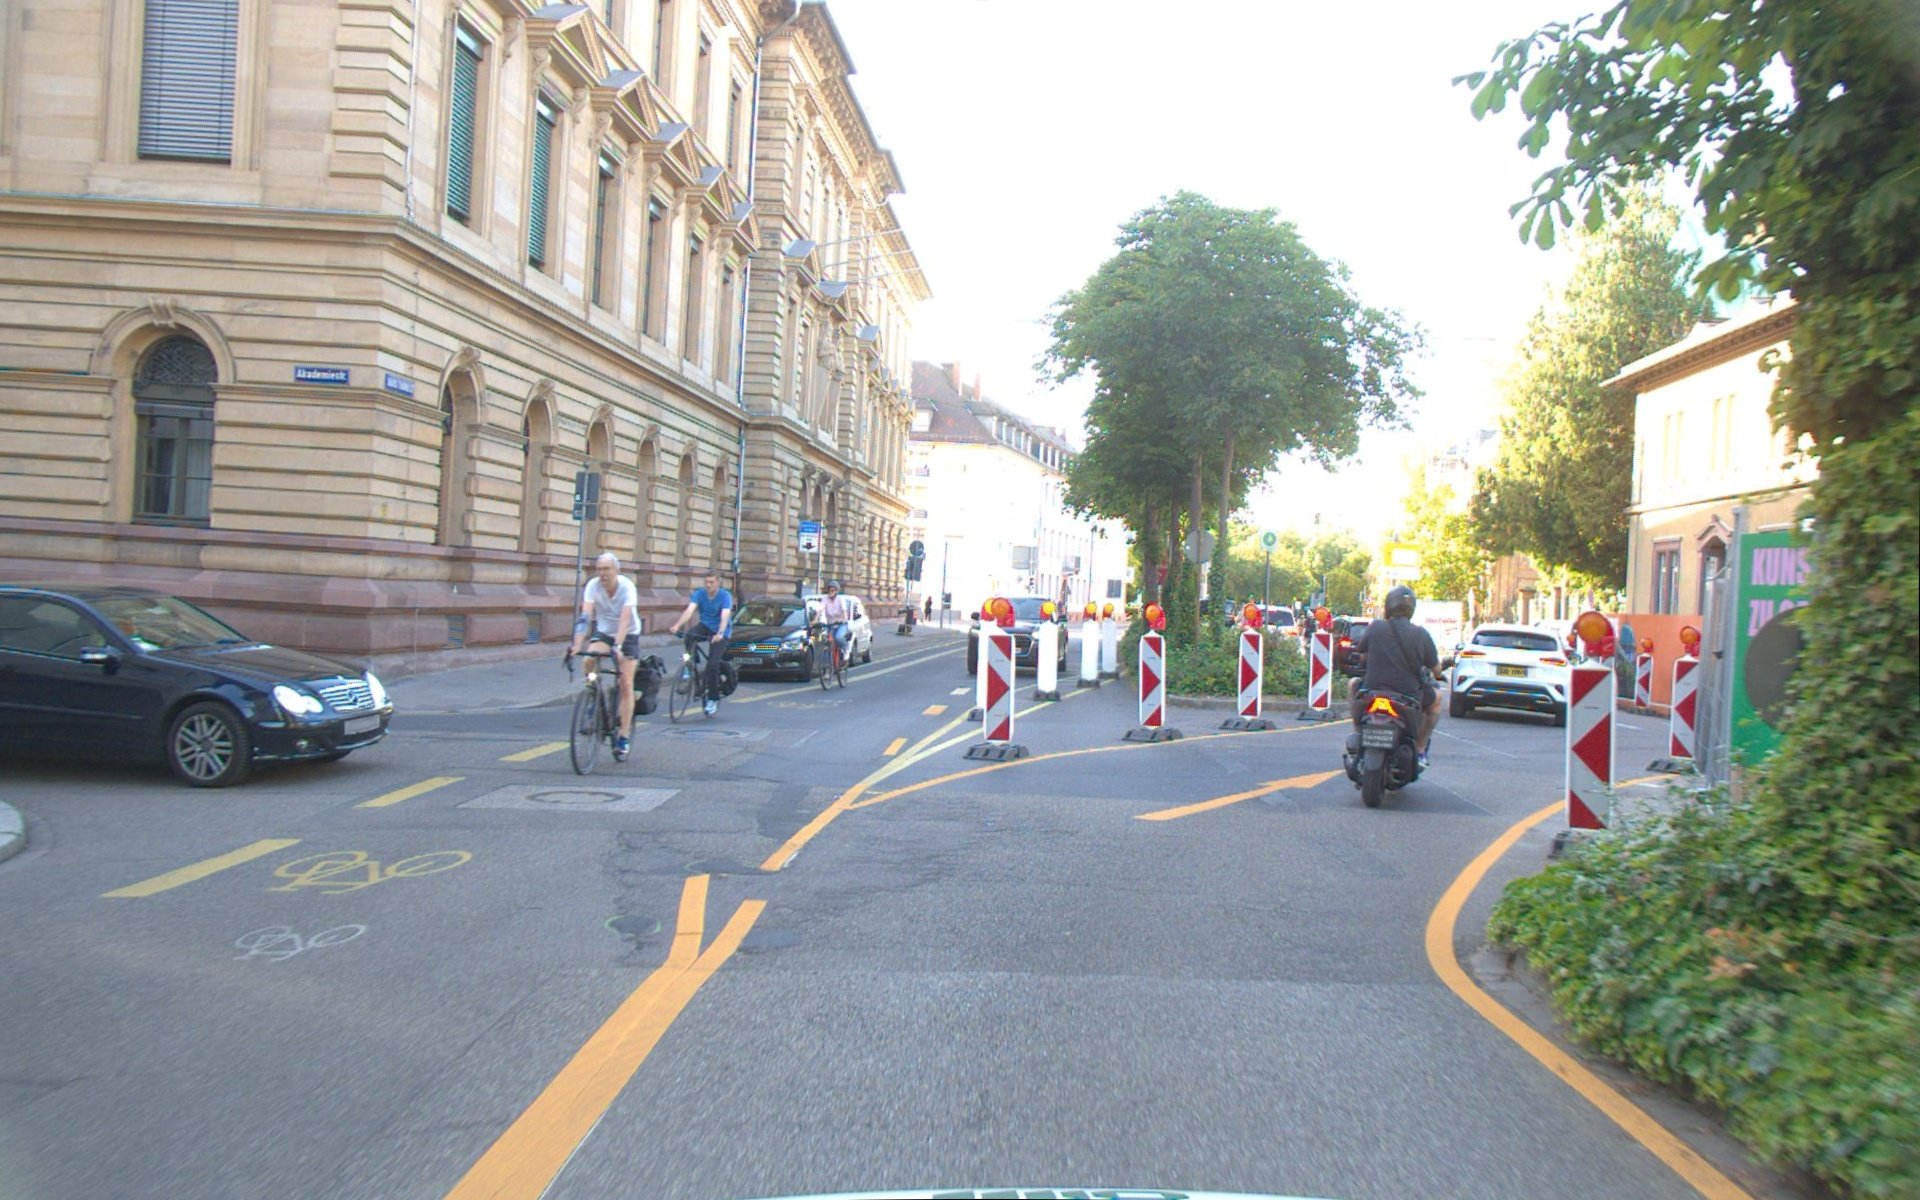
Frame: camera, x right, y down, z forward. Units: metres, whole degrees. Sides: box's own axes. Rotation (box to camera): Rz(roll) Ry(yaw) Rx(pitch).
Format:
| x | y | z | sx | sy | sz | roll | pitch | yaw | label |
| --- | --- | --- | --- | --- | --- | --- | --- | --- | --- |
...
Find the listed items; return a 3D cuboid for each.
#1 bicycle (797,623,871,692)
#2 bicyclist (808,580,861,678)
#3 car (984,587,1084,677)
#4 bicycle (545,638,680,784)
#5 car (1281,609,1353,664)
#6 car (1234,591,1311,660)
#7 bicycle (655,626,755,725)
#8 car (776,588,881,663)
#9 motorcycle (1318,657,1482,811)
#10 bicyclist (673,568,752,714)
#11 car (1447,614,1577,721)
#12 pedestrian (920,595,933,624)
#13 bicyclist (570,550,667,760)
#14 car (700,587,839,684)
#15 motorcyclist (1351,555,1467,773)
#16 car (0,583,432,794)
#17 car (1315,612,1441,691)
| x | y | z | sx | sy | sz | roll | pitch | yaw | label |
| --- | --- | --- | --- | --- | --- | --- | --- | --- | --- |
| -2.068 | 0.934 | 27.471 | 0.522 | 1.053 | 2.037 | 2 | 0 | 16 | bicycle |
| -2.085 | 0.478 | 27.528 | 0.615 | 1.581 | 0.732 | 2 | 0 | 16 | bicyclist |
| 1.515 | 0.627 | 35.257 | 1.952 | 1.724 | 4.399 | 2 | 0 | 1 | car |
| -2.876 | 0.882 | 13.879 | 0.571 | 1.053 | 2.129 | 2 | 0 | 2 | bicycle |
| 12.433 | 1.237 | 57.866 | 1.802 | 1.728 | 4.059 | 4 | 0 | 4 | car |
| 9.768 | 0.779 | 51.953 | 1.802 | 1.945 | 4.059 | 4 | 0 | 4 | car |
| -2.956 | 0.854 | 19.339 | 0.521 | 1.053 | 1.908 | 2 | 0 | 11 | bicycle |
| -2.916 | 0.544 | 37.565 | 1.952 | 1.555 | 4.185 | 2 | 0 | 1 | car |
| 3.538 | 1.025 | 13.189 | 0.782 | 1.084 | 1.721 | 4 | 0 | 30 | motorcycle |
| -2.888 | 0.467 | 19.364 | 0.615 | 1.642 | 0.870 | 2 | 0 | 11 | bicyclist |
| 8.934 | 1.016 | 26.600 | 1.812 | 1.506 | 4.058 | 1 | 0 | 20 | car |
| -1.829 | 0.513 | 90.560 | 0.652 | 1.580 | 0.649 | 2 | 0 | 1 | pedestrian |
| -2.864 | 0.450 | 13.915 | 0.554 | 1.696 | 0.835 | 2 | 0 | 3 | bicyclist |
| -3.400 | 0.600 | 30.359 | 1.952 | 1.594 | 4.289 | 2 | 0 | 1 | car |
| 3.634 | 0.507 | 13.368 | 0.646 | 1.679 | 0.649 | 3 | 0 | 33 | motorcyclist |
| -6.551 | 0.617 | 12.923 | 4.222 | 1.414 | 1.777 | 2 | 0 | 6 | car |
| 9.014 | 1.066 | 35.983 | 1.802 | 1.489 | 4.059 | 4 | 0 | 3 | car |
